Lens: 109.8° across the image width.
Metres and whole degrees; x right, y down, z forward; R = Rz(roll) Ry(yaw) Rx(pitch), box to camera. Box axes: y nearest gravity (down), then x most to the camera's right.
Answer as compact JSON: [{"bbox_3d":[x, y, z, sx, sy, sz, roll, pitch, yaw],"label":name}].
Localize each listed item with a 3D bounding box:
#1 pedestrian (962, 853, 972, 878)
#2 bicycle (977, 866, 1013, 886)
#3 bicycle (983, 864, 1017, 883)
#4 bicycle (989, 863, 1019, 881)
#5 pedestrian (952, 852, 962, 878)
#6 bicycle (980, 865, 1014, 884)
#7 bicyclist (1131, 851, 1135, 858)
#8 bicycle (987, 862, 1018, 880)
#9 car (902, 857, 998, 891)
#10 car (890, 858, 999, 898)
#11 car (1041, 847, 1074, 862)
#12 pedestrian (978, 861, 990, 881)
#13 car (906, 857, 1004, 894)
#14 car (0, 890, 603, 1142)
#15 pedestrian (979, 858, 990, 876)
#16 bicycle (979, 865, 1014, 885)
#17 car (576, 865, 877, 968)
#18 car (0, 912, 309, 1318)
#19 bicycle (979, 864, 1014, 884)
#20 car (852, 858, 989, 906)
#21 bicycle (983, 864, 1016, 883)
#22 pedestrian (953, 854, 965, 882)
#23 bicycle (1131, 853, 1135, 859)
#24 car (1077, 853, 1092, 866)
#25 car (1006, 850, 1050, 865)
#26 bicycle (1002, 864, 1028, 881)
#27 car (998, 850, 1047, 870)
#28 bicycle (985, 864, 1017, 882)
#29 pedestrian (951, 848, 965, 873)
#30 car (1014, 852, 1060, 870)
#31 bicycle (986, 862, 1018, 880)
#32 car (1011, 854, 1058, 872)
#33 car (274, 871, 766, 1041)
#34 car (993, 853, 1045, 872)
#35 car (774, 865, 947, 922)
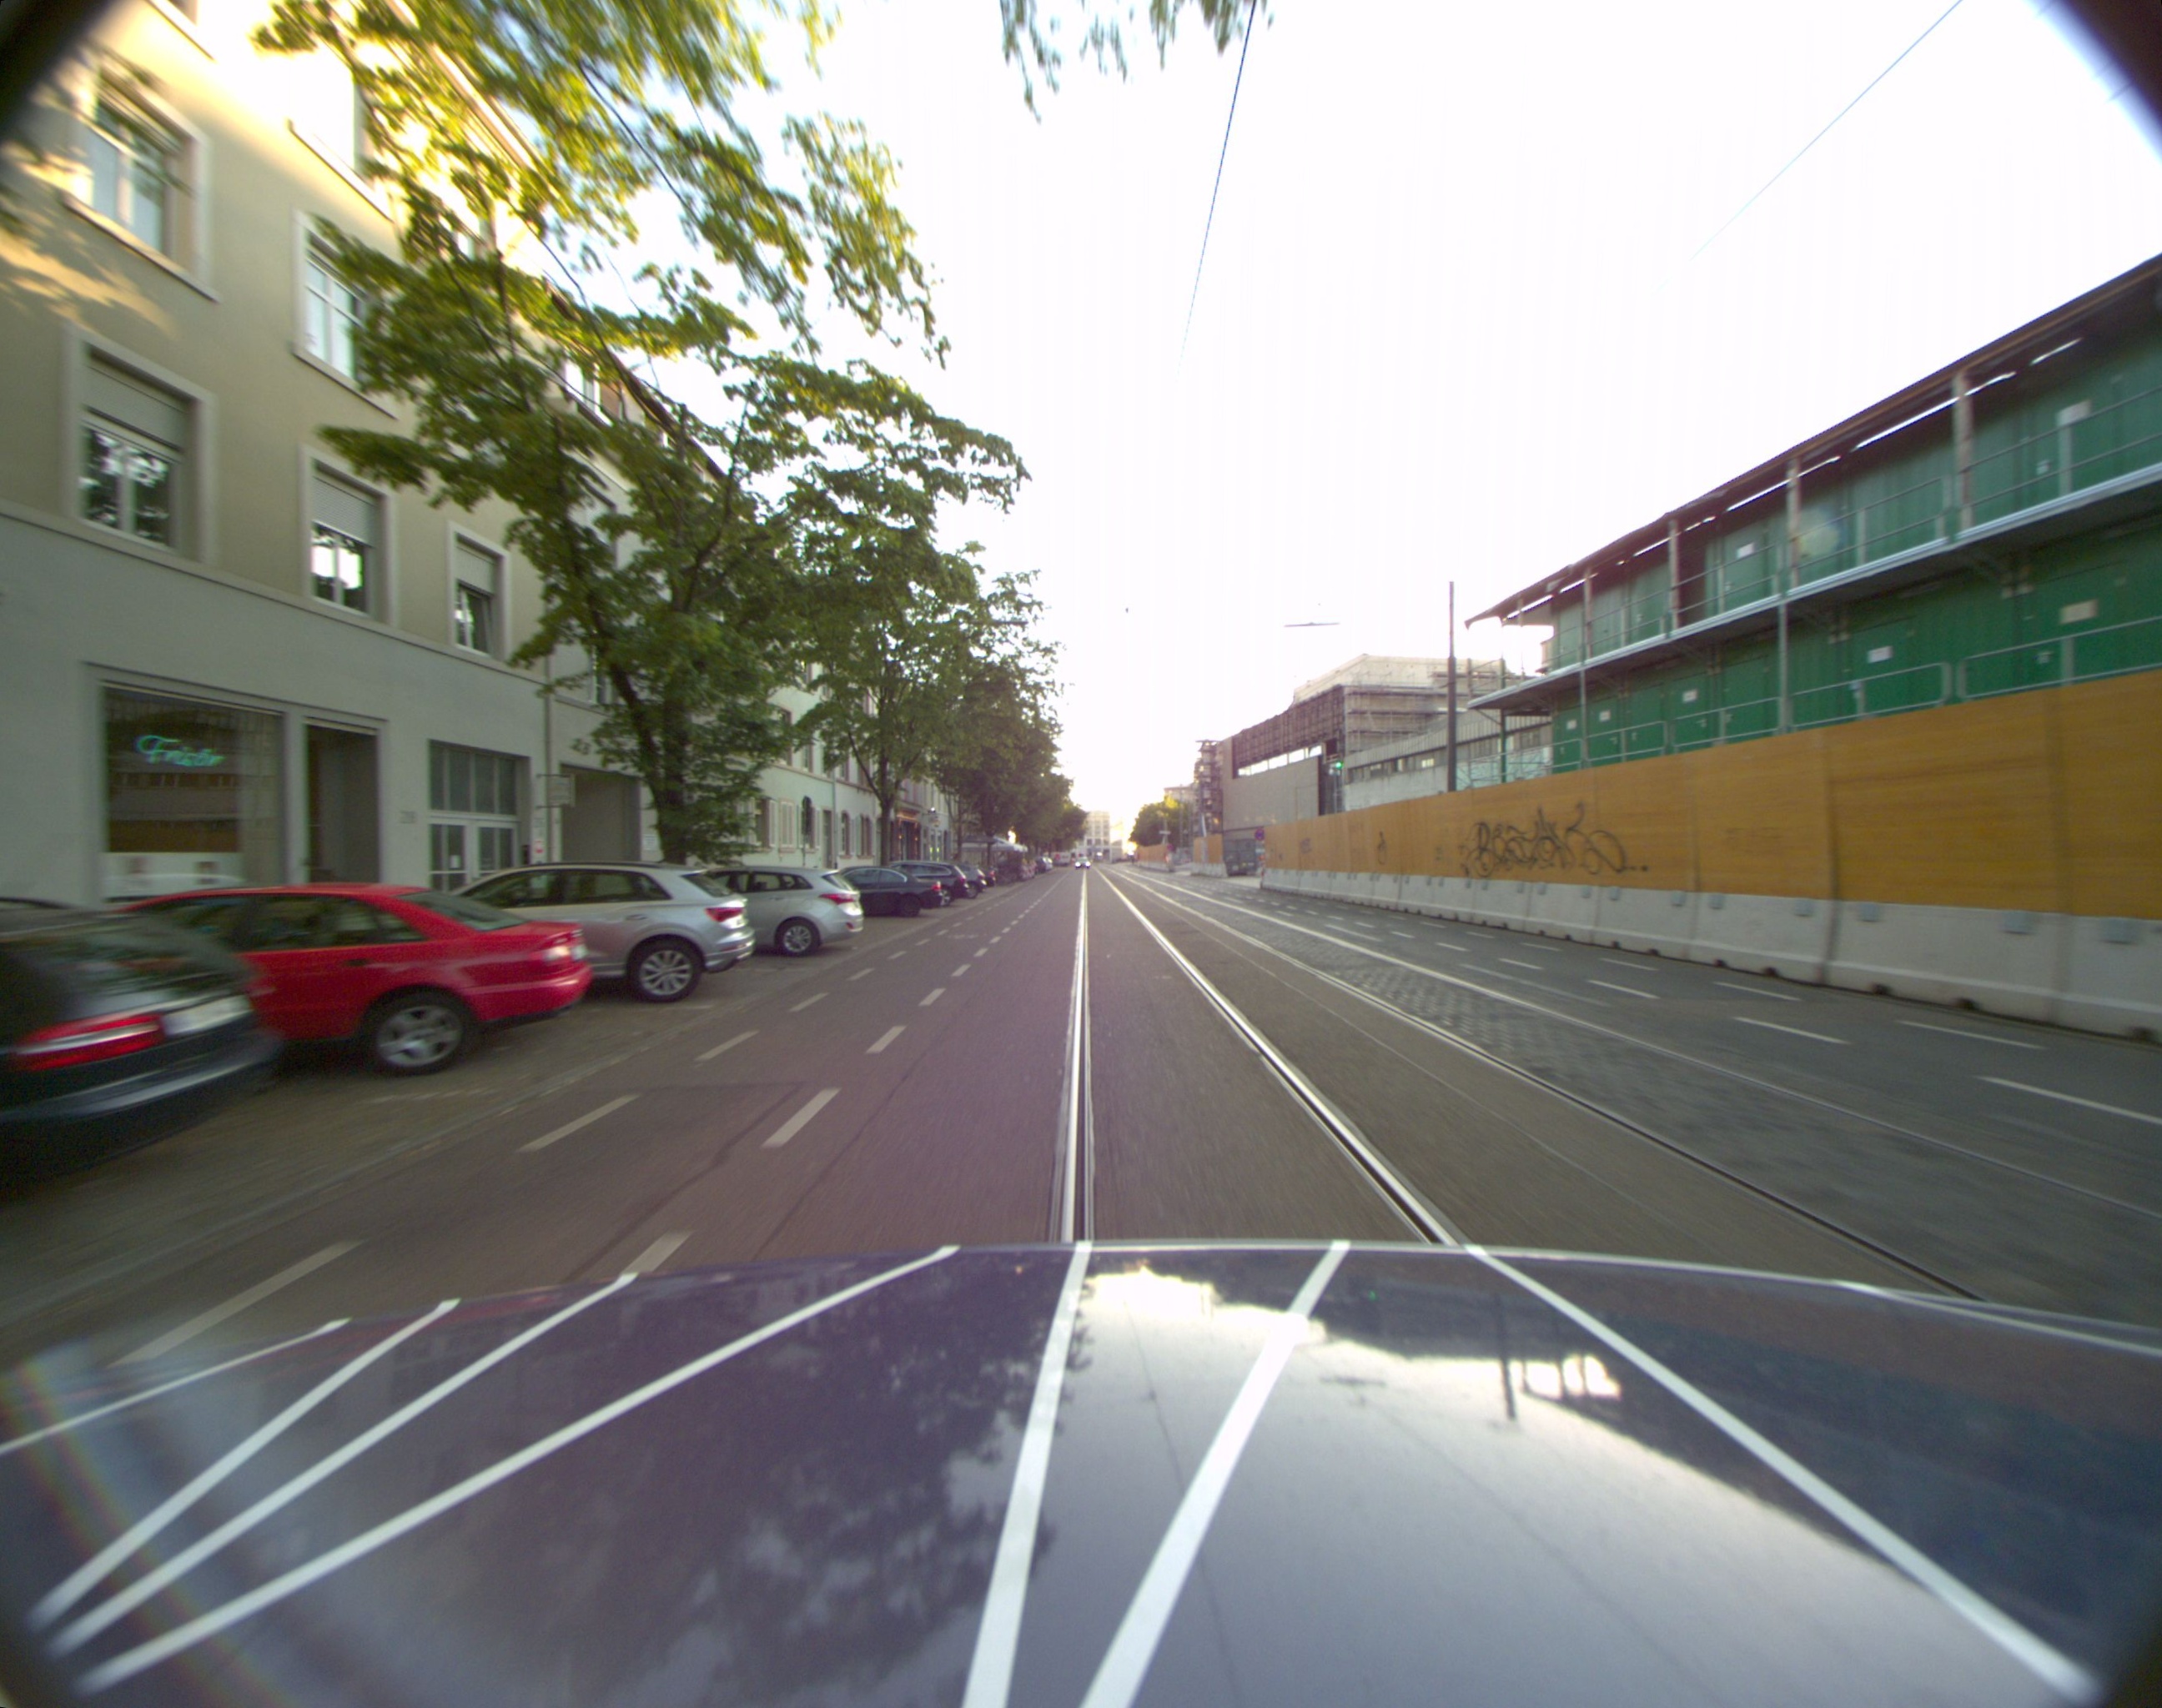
[{"bbox_3d":[-7.910,0.793,52.733,0.553,1.753,0.714,-1,1,-16],"label":"pedestrian"},{"bbox_3d":[-4.789,1.204,42.268,1.908,1.025,0.533,2,0,-1],"label":"bicycle"},{"bbox_3d":[-4.787,1.161,44.922,1.891,1.025,0.608,2,0,-1],"label":"bicycle"},{"bbox_3d":[-4.903,1.144,48.457,1.820,1.025,0.608,2,0,-1],"label":"bicycle"},{"bbox_3d":[-8.523,0.741,52.307,0.553,1.753,0.851,-2,1,-16],"label":"pedestrian"},{"bbox_3d":[-4.872,1.192,44.284,1.891,1.025,0.608,2,0,-1],"label":"bicycle"},{"bbox_3d":[11.610,0.082,168.887,0.770,1.656,1.018,-1,0,0],"label":"bicyclist"},{"bbox_3d":[-4.939,1.059,47.751,1.891,1.025,0.608,2,0,-1],"label":"bicycle"},{"bbox_3d":[-6.119,0.932,35.328,4.178,1.418,1.820,2,0,-17],"label":"car"},{"bbox_3d":[-5.511,0.949,30.607,4.132,1.462,1.821,2,0,-16],"label":"car"},{"bbox_3d":[-4.255,0.170,138.417,5.650,2.678,2.166,0,0,-34],"label":"car"},{"bbox_3d":[-6.407,1.104,50.293,0.502,1.285,0.601,-1,1,39],"label":"pedestrian"},{"bbox_3d":[-5.511,0.934,33.057,3.964,1.462,1.998,2,0,-16],"label":"car"},{"bbox_3d":[-6.293,1.067,5.918,4.140,1.416,1.893,0,1,-25],"label":"car"},{"bbox_3d":[-6.811,0.913,53.767,0.553,1.298,0.713,0,1,-27],"label":"pedestrian"},{"bbox_3d":[-4.767,1.170,42.852,1.868,1.025,0.591,2,0,-2],"label":"bicycle"},{"bbox_3d":[-5.781,0.993,12.959,4.265,1.540,2.018,1,0,-10],"label":"car"},{"bbox_3d":[-6.317,1.067,3.017,4.140,1.416,1.916,0,1,-25],"label":"car"},{"bbox_3d":[-4.820,1.157,43.548,1.891,1.061,0.674,2,0,-1],"label":"bicycle"},{"bbox_3d":[-5.405,0.947,25.539,4.135,1.462,2.011,2,0,-24],"label":"car"},{"bbox_3d":[-4.863,1.164,45.633,1.891,1.025,0.608,2,0,-1],"label":"bicycle"},{"bbox_3d":[-7.851,0.884,48.877,0.552,1.753,0.894,-2,1,0],"label":"pedestrian"},{"bbox_3d":[11.644,0.452,168.955,0.770,1.221,1.936,-1,0,0],"label":"bicycle"},{"bbox_3d":[0.455,0.705,101.902,1.840,1.631,4.169,-4,0,1],"label":"car"},{"bbox_3d":[-6.460,0.422,92.479,4.984,1.816,2.204,1,0,-18],"label":"car"},{"bbox_3d":[-4.332,1.189,49.882,1.683,1.025,0.557,2,0,-1],"label":"bicycle"},{"bbox_3d":[-5.498,0.581,71.552,4.167,1.796,2.003,1,0,-28],"label":"car"},{"bbox_3d":[-4.877,1.154,46.350,1.891,1.025,0.608,2,0,-1],"label":"bicycle"},{"bbox_3d":[-8.759,0.478,54.034,0.705,1.753,0.713,-2,1,-27],"label":"pedestrian"},{"bbox_3d":[-4.609,0.746,80.495,4.661,1.678,2.008,2,0,0],"label":"car"},{"bbox_3d":[-4.908,1.068,47.089,1.891,1.025,0.608,2,0,-1],"label":"bicycle"},{"bbox_3d":[-4.768,0.888,77.653,4.662,1.678,2.007,2,0,-3],"label":"car"},{"bbox_3d":[-6.001,1.002,8.869,4.269,1.551,1.894,0,1,-22],"label":"car"},{"bbox_3d":[-5.173,0.727,63.579,3.980,1.544,1.702,1,0,-25],"label":"car"},{"bbox_3d":[-6.008,1.007,20.666,4.270,1.384,2.011,0,0,-25],"label":"car"}]
